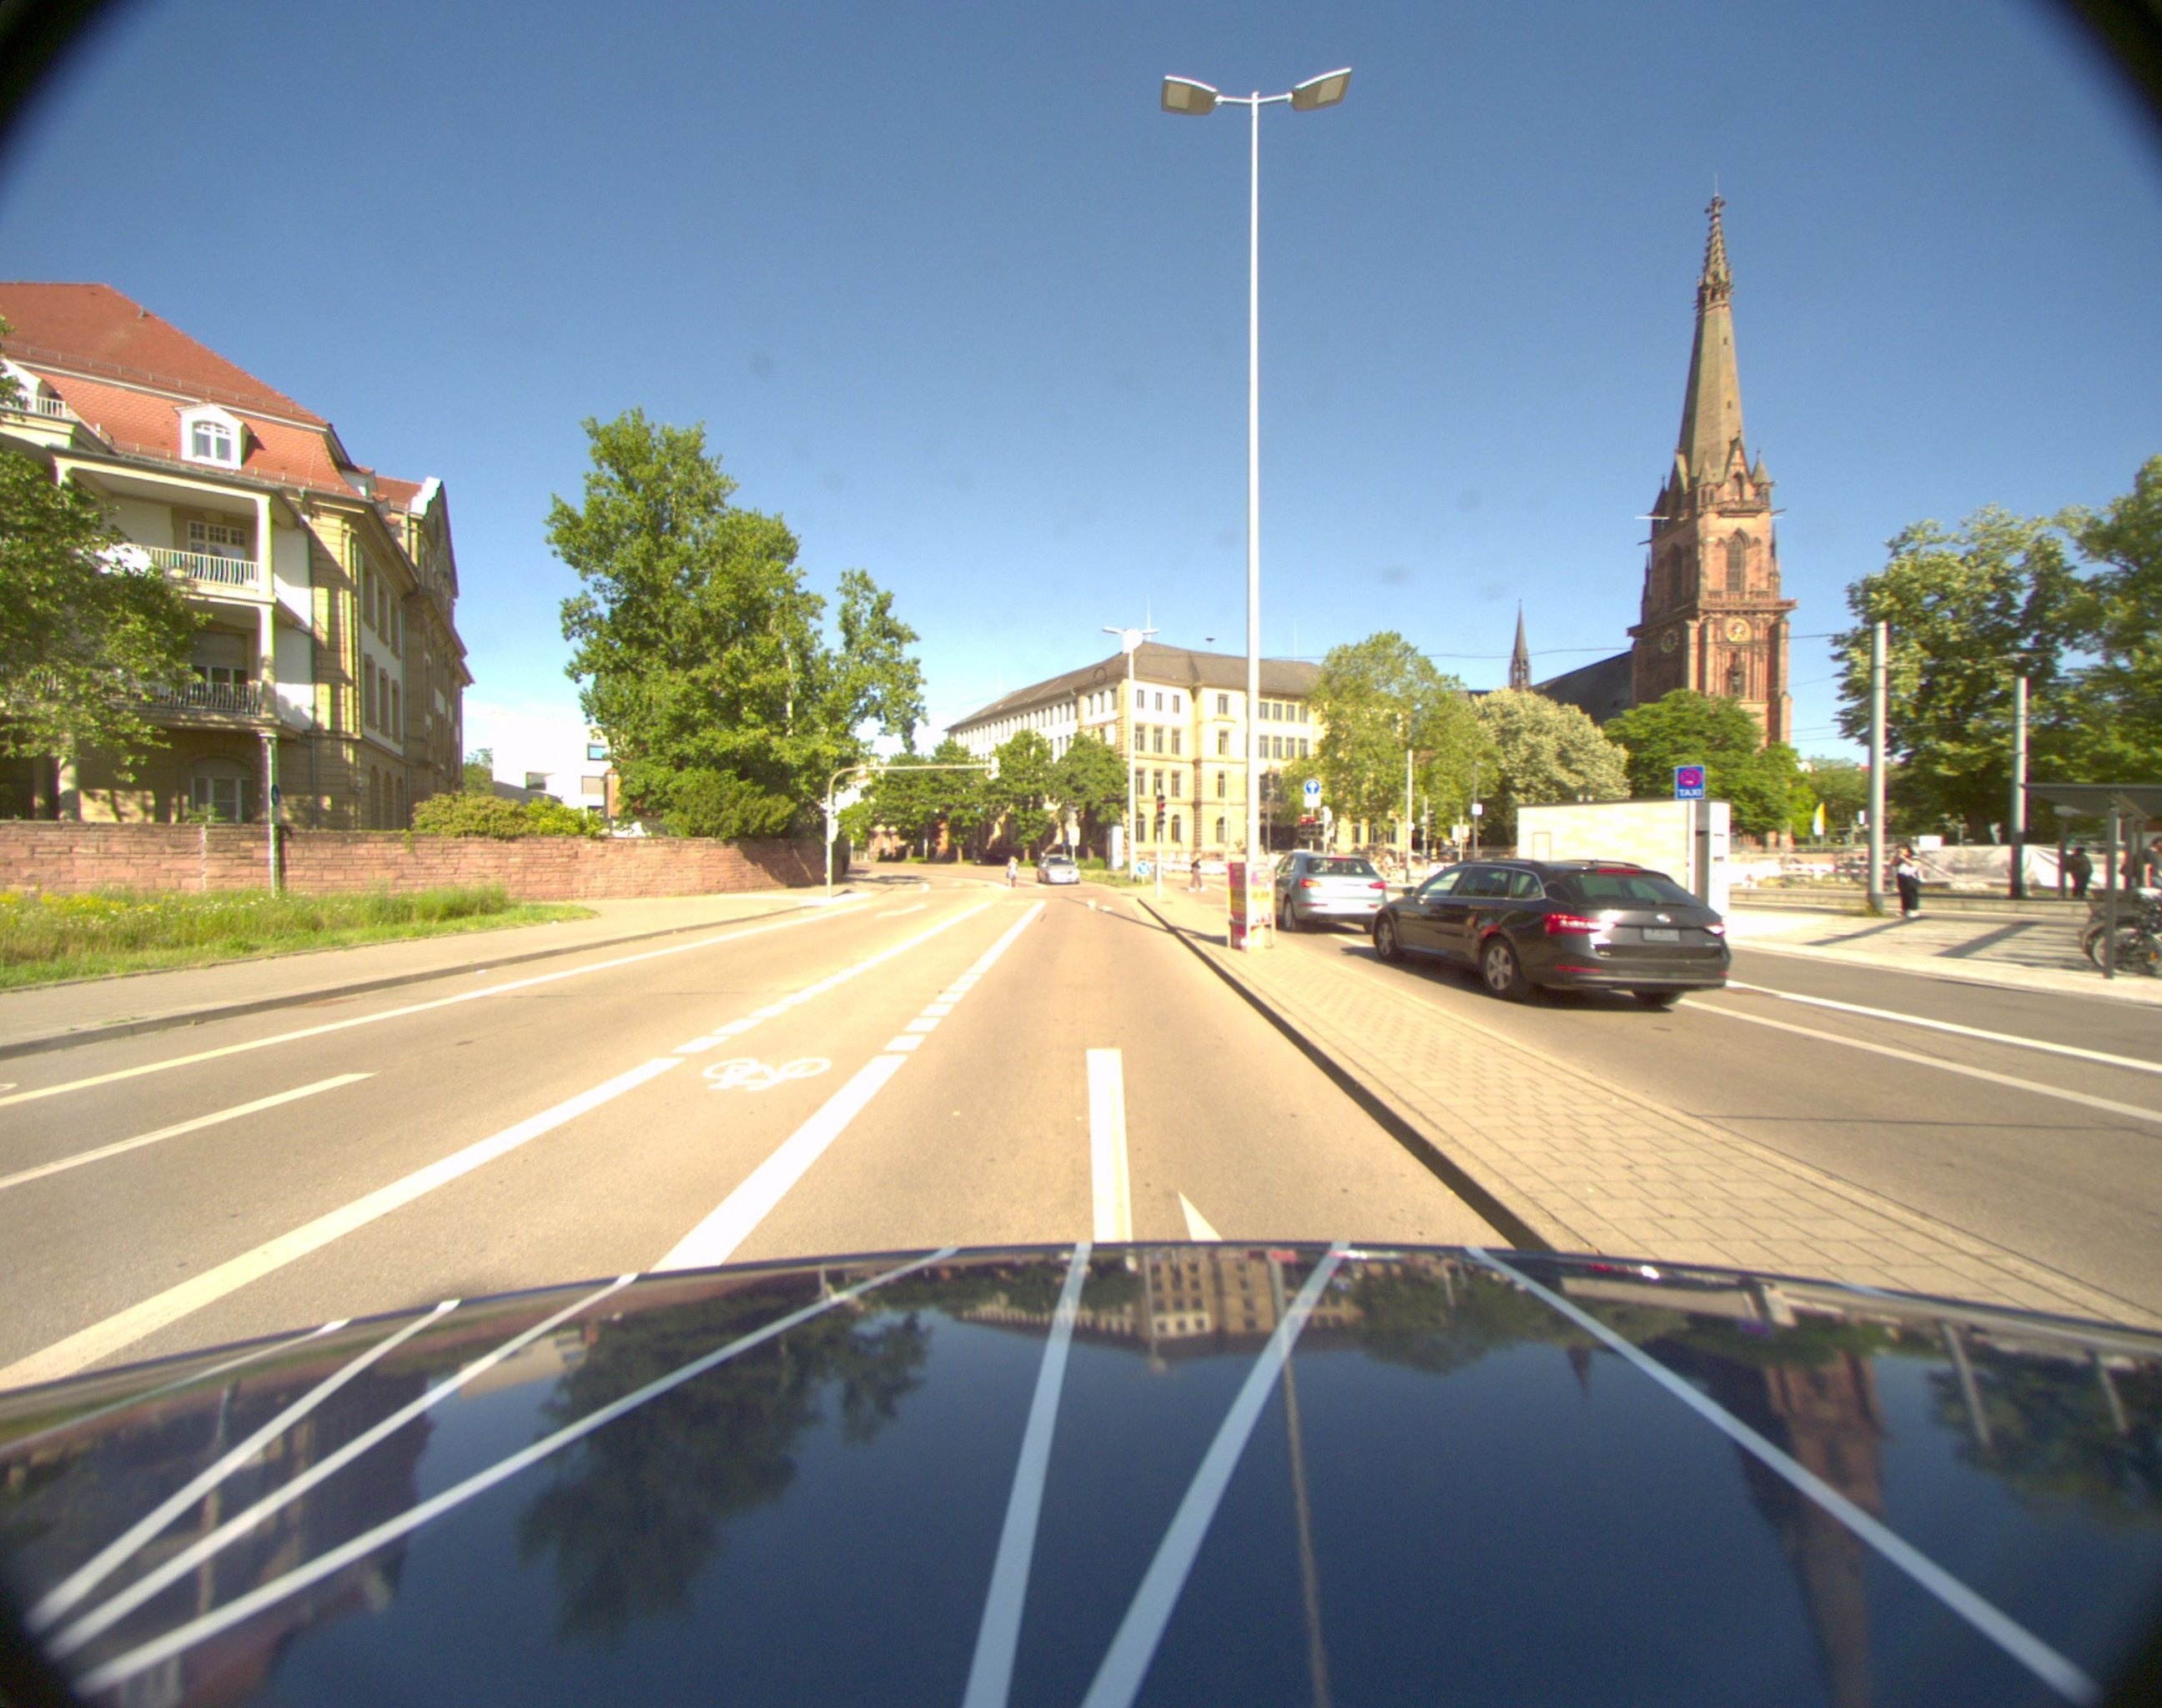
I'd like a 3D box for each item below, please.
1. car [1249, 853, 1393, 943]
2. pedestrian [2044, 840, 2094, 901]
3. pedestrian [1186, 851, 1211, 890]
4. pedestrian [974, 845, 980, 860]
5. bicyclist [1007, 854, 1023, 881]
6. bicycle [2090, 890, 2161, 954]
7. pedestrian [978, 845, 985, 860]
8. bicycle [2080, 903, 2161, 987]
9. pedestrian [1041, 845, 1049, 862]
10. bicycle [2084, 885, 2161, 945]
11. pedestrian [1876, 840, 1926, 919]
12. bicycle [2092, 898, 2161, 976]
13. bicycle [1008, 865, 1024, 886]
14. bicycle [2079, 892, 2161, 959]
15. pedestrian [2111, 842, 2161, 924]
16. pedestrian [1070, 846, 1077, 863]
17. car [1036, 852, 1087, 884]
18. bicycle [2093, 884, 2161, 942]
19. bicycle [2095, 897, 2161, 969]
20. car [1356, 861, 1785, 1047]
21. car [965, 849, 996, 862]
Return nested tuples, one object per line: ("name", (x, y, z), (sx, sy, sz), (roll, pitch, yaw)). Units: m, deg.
("car", (4.801, 0.801, 15.870), (1.792, 1.572, 4.258), (1, 0, 2))
("pedestrian", (30.578, 0.495, 23.527), (0.619, 1.849, 0.703), (0, 1, 11))
("pedestrian", (5.098, 0.691, 32.866), (0.932, 1.657, 0.630), (0, 1, -8))
("pedestrian", (-13.387, -0.188, 97.790), (0.578, 1.893, 0.781), (-1, 1, -36))
("bicyclist", (-3.459, 0.695, 39.802), (0.741, 1.363, 0.626), (-2, 1, -6))
("bicycle", (17.962, 1.141, 12.457), (0.407, 0.993, 1.679), (-3, 2, -33))
("pedestrian", (-12.803, -0.194, 98.111), (0.578, 1.893, 0.849), (-1, 1, -36))
("bicycle", (13.983, 1.192, 9.548), (0.407, 0.993, 1.678), (-3, 3, -33))
("pedestrian", (-4.122, -0.041, 86.888), (0.557, 2.002, 0.645), (-1, 1, -37))
("bicycle", (19.026, 1.088, 13.335), (0.407, 0.993, 1.679), (-3, 2, -33))
("pedestrian", (19.587, 0.600, 18.151), (0.703, 1.849, 0.619), (-1, 1, -26))
("bicycle", (15.028, 1.169, 10.206), (0.407, 0.993, 1.678), (-3, 3, -33))
("bicycle", (-3.428, 1.124, 39.727), (0.741, 0.989, 2.305), (-2, 1, -6))
("bicycle", (17.183, 1.145, 12.010), (0.407, 0.993, 1.679), (-3, 2, -33))
("pedestrian", (22.788, 0.612, 16.274), (0.622, 1.717, 0.831), (-1, 1, -36))
("pedestrian", (-0.828, 0.063, 80.036), (0.540, 1.710, 0.545), (-1, 1, -37))
("car", (-1.159, 0.715, 42.229), (2.000, 1.580, 4.847), (-3, 1, -11))
("bicycle", (19.512, 1.068, 13.577), (0.407, 0.993, 1.679), (-3, 2, -33))
("bicycle", (16.126, 1.186, 10.997), (0.407, 0.993, 1.678), (-3, 3, -33))
("car", (5.082, 0.884, 8.928), (1.818, 1.496, 4.783), (2, 0, -2))
("car", (-11.949, 0.146, 90.343), (1.839, 1.587, 3.989), (-1, 1, -37))
